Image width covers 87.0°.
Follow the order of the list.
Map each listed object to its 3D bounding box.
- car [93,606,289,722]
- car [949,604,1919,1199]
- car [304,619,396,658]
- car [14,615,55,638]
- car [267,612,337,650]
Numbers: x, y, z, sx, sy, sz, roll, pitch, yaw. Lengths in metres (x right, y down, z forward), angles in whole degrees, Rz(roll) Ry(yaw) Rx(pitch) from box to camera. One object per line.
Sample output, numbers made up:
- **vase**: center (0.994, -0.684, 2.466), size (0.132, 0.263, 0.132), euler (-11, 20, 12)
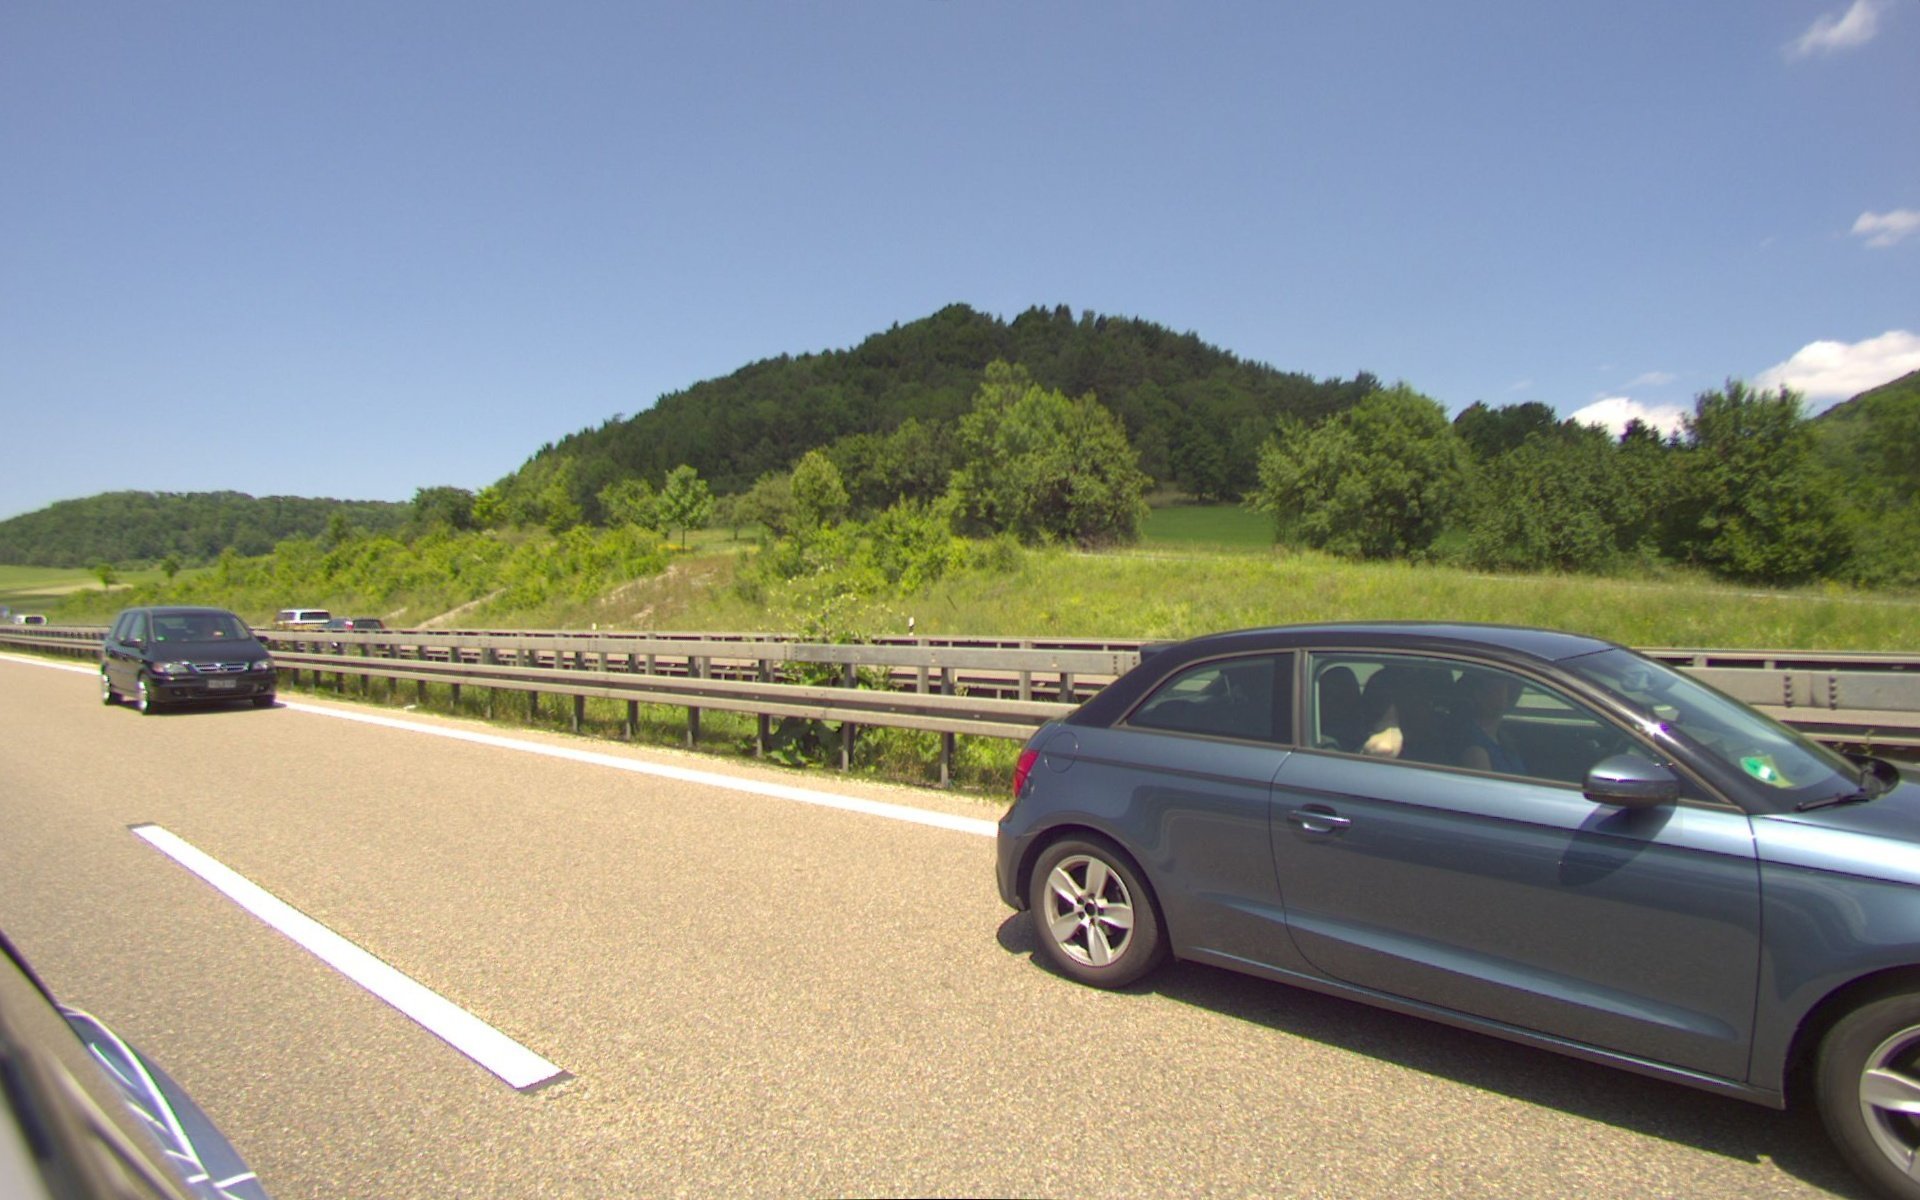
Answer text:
- **car**: center (-12.699, 0.957, 16.604), size (4.445, 1.647, 1.781), euler (-1, -1, 42)
- **car**: center (2.003, 0.728, 3.507), size (3.998, 1.399, 1.671), euler (-1, -1, 41)
- **car**: center (-25.137, 1.545, 41.646), size (4.518, 1.530, 1.973), euler (-1, -1, 41)
- **car**: center (-78.187, 2.236, 85.485), size (5.223, 1.853, 1.973), euler (-1, -1, 41)
- **car**: center (-36.073, 1.673, 55.461), size (4.658, 1.956, 2.039), euler (-1, -1, 41)
